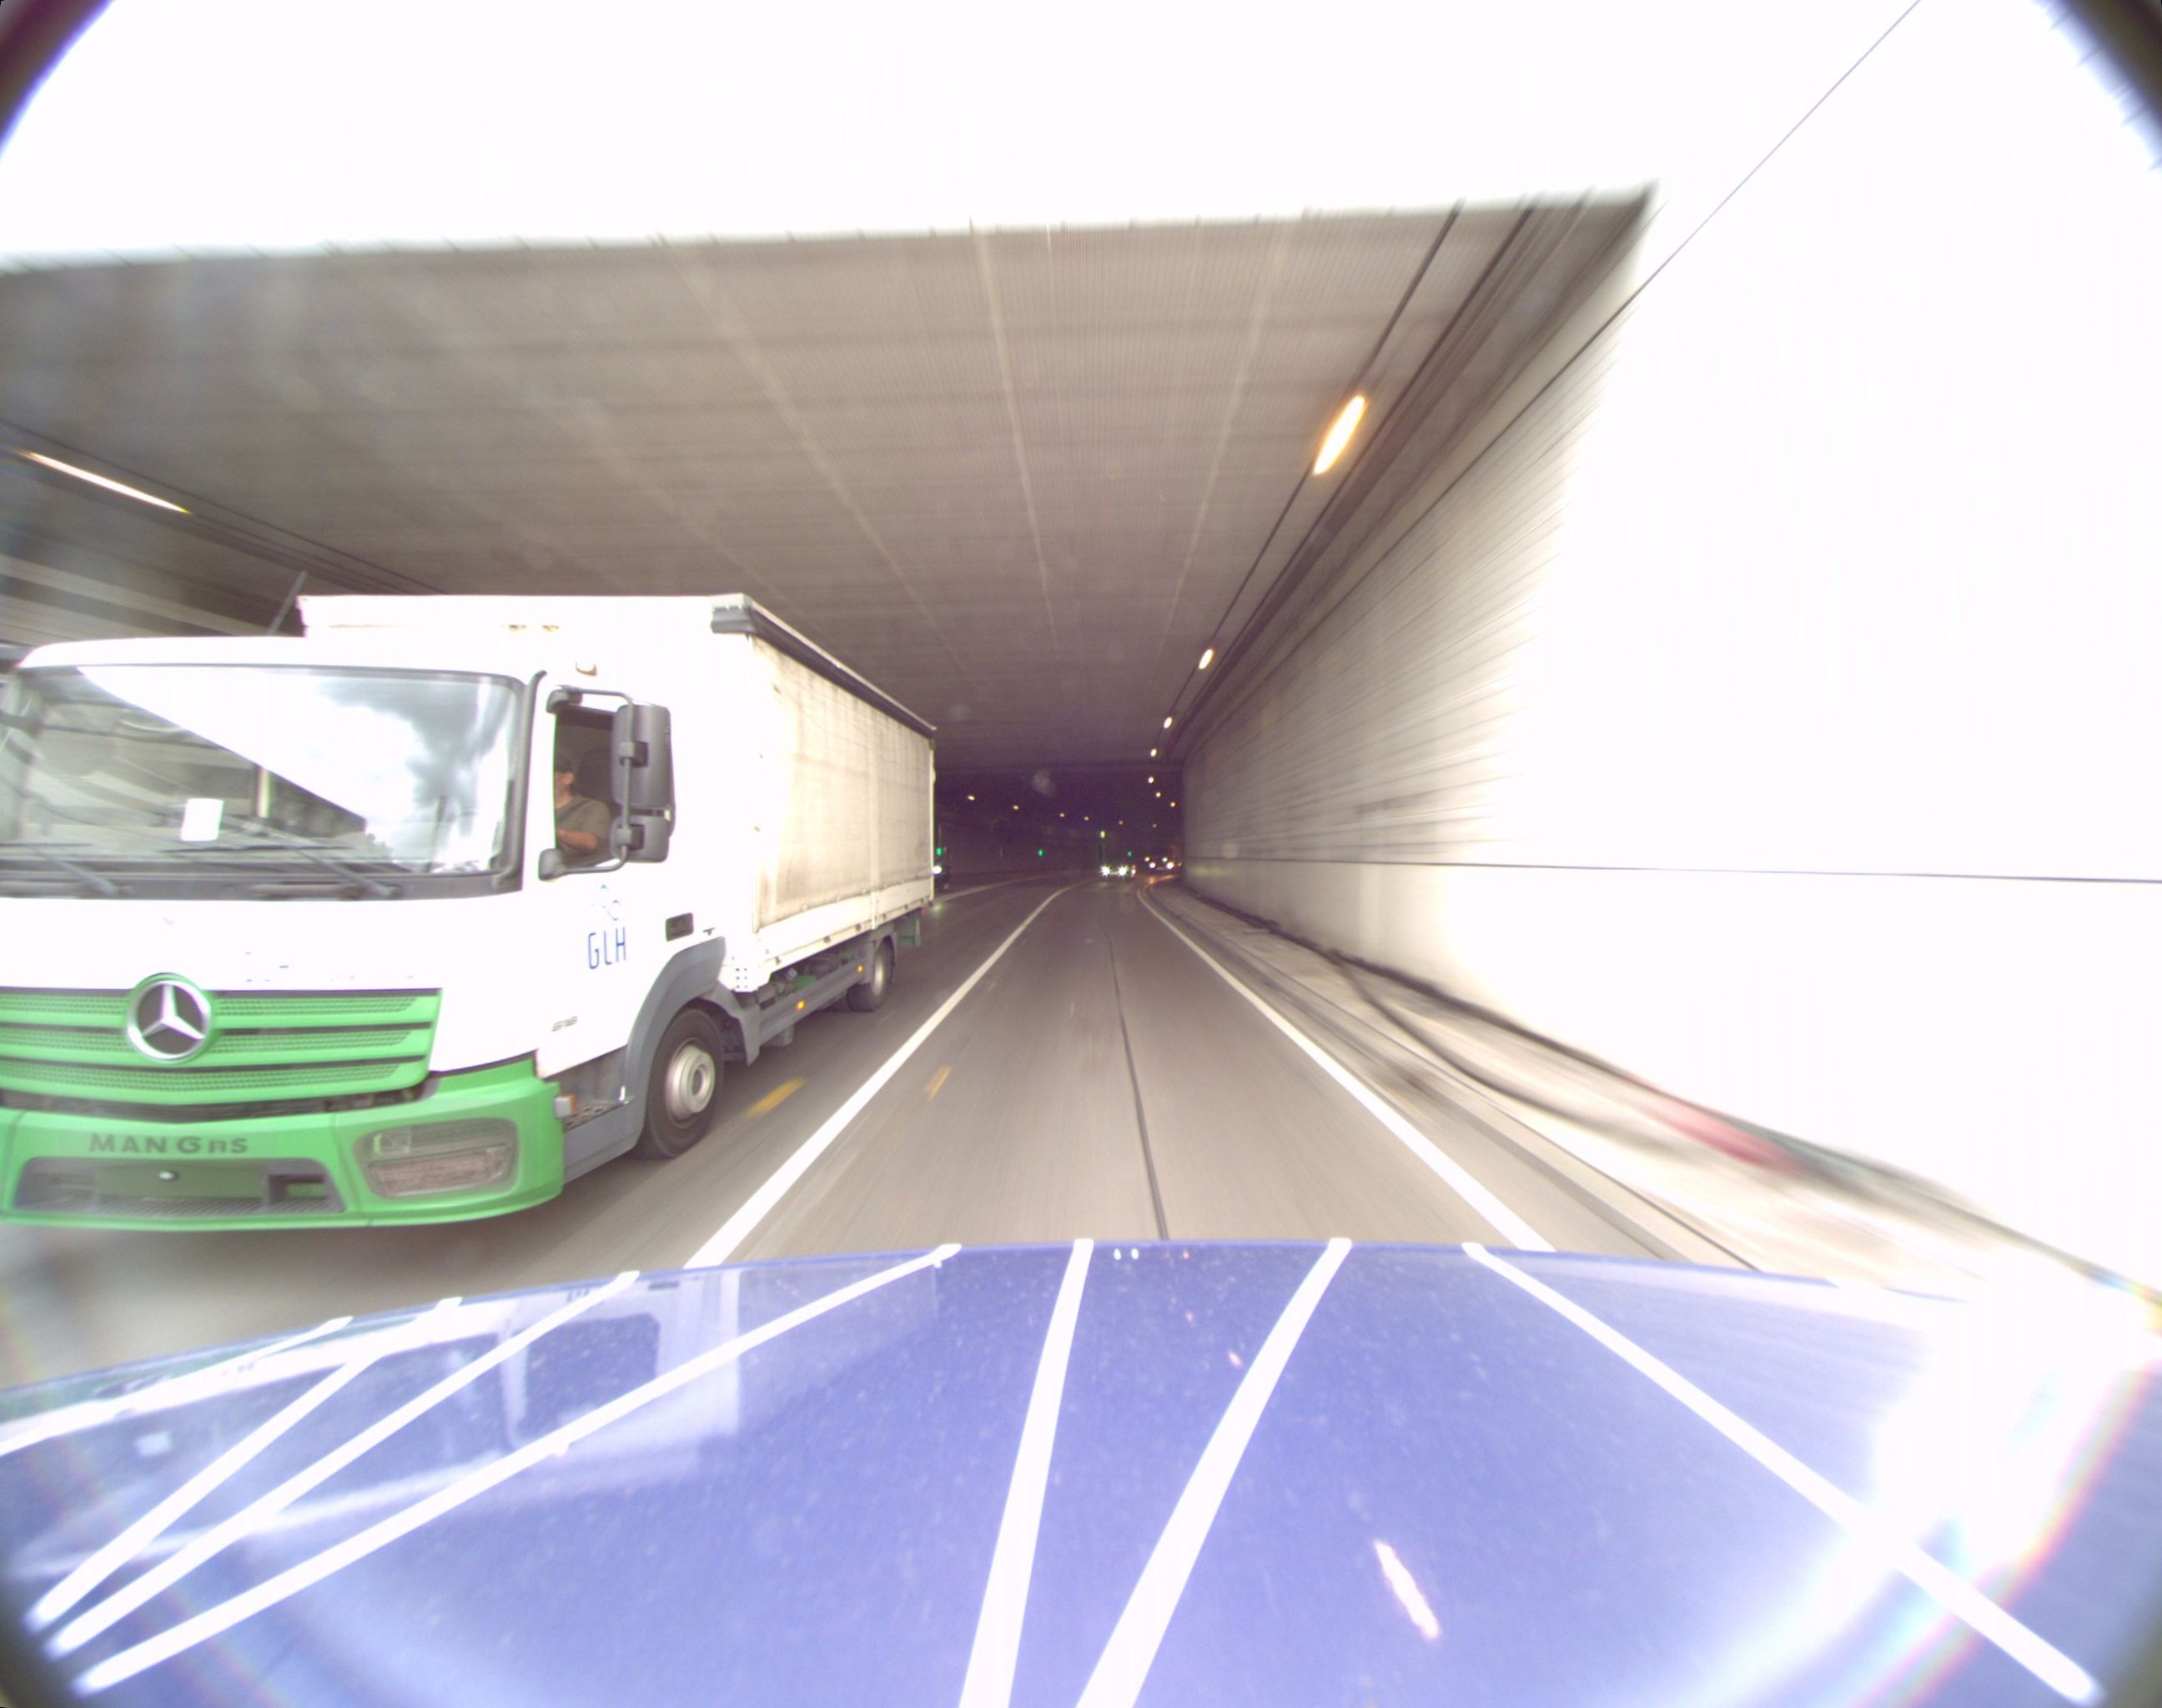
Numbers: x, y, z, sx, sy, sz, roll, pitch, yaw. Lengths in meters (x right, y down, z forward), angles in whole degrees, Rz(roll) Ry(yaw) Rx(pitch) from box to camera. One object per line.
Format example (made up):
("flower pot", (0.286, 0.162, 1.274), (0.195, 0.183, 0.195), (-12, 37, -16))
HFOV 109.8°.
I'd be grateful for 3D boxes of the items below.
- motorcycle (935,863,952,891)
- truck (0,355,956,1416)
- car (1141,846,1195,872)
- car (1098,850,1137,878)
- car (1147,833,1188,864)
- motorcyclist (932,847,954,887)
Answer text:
("motorcycle", (-5.187, 0.857, 28.717), (0.550, 0.970, 1.833), (-2, 0, -9))
("truck", (-3.081, 0.116, 6.052), (2.636, 3.220, 7.416), (-2, 0, 2))
("car", (6.781, 0.335, 58.803), (2.370, 1.914, 5.208), (-1, 0, 28))
("car", (2.072, 0.490, 41.705), (1.720, 1.455, 4.002), (0, 1, 9))
("car", (8.174, -0.491, 71.051), (2.556, 2.752, 7.359), (0, 1, 16))
("motorcyclist", (-5.211, 0.485, 28.669), (0.747, 1.482, 0.786), (-2, 1, -9))
